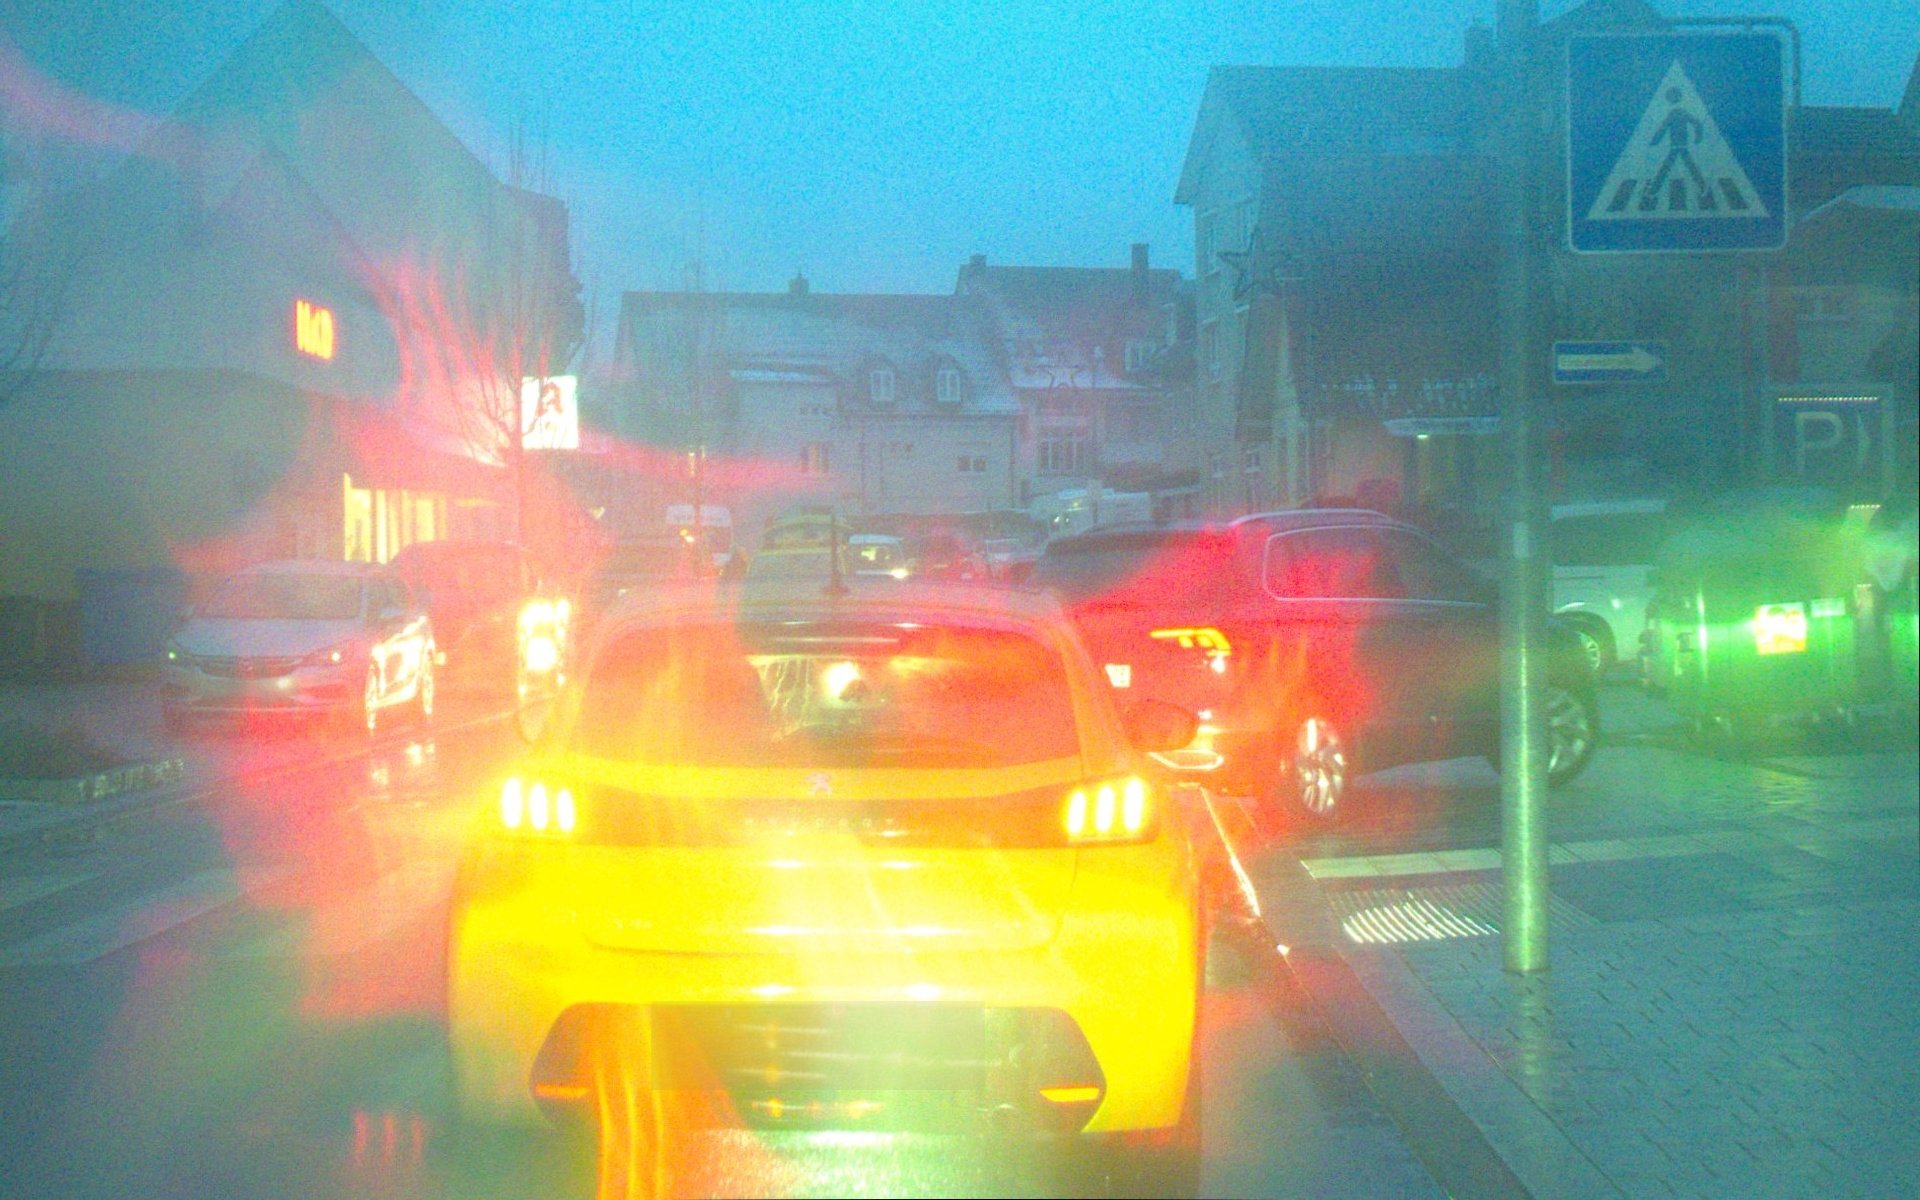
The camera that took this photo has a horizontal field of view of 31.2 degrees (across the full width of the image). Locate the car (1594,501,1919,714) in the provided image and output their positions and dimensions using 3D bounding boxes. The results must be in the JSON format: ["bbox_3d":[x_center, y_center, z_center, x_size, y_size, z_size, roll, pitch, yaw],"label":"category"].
[{"bbox_3d":[6.840,0.036,25.494,3.987,1.481,1.912,-1,0,4],"label":"car"}]

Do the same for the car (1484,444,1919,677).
[{"bbox_3d":[7.236,-0.387,33.541,4.092,2.042,1.999,-2,1,10],"label":"car"}]

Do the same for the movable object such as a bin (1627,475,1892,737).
[{"bbox_3d":[5.334,0.025,23.024,1.393,1.638,1.262,-3,1,-1],"label":"movable object such as a bin"}]

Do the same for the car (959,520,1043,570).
[{"bbox_3d":[1.433,-1.957,122.712,1.993,1.605,4.175,-3,0,-13],"label":"car"}]

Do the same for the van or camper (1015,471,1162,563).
[{"bbox_3d":[4.549,-2.952,123.396,2.650,3.037,6.736,-4,2,-21],"label":"van or camper"}]

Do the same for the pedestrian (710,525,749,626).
[{"bbox_3d":[-3.652,-0.398,54.467,0.574,1.580,0.530,-1,2,0],"label":"pedestrian"}]

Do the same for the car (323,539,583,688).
[{"bbox_3d":[-5.459,0.100,37.671,1.993,1.517,4.978,0,1,1],"label":"car"}]

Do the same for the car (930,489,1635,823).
[{"bbox_3d":[1.866,0.245,18.849,1.997,1.619,3.991,1,1,38],"label":"car"}]

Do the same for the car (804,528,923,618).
[{"bbox_3d":[-2.057,-0.587,71.921,1.951,1.541,4.417,2,3,-8],"label":"car"}]

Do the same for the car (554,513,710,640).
[{"bbox_3d":[-4.790,-0.390,50.836,2.085,1.786,5.025,0,1,-3],"label":"car"}]

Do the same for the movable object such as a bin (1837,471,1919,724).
[{"bbox_3d":[6.695,-0.058,22.958,1.285,1.638,1.185,-3,1,-1],"label":"movable object such as a bin"}]

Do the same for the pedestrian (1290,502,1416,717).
[{"bbox_3d":[3.508,0.076,30.774,0.966,1.883,1.006,1,1,-1],"label":"pedestrian"}]

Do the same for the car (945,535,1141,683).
[{"bbox_3d":[0.896,0.068,39.288,1.993,1.583,4.000,1,1,-2],"label":"car"}]

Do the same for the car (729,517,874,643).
[{"bbox_3d":[-2.364,-0.348,52.557,1.993,1.700,4.967,2,2,-1],"label":"car"}]

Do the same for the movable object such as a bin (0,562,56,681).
[{"bbox_3d":[-11.035,0.246,39.543,1.149,1.349,0.852,0,1,-9],"label":"movable object such as a bin"}]

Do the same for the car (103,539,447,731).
[{"bbox_3d":[-5.947,0.245,30.426,1.993,1.552,4.621,1,1,2],"label":"car"}]

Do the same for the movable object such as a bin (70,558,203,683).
[{"bbox_3d":[-9.500,0.234,39.706,1.340,1.349,0.889,-4,1,-8],"label":"movable object such as a bin"}]

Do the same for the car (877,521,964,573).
[{"bbox_3d":[-1.433,-1.901,122.424,1.993,1.759,4.352,-3,2,-15],"label":"car"}]

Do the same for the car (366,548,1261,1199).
[{"bbox_3d":[-0.249,0.640,9.008,1.814,1.528,4.000,1,1,2],"label":"car"}]
